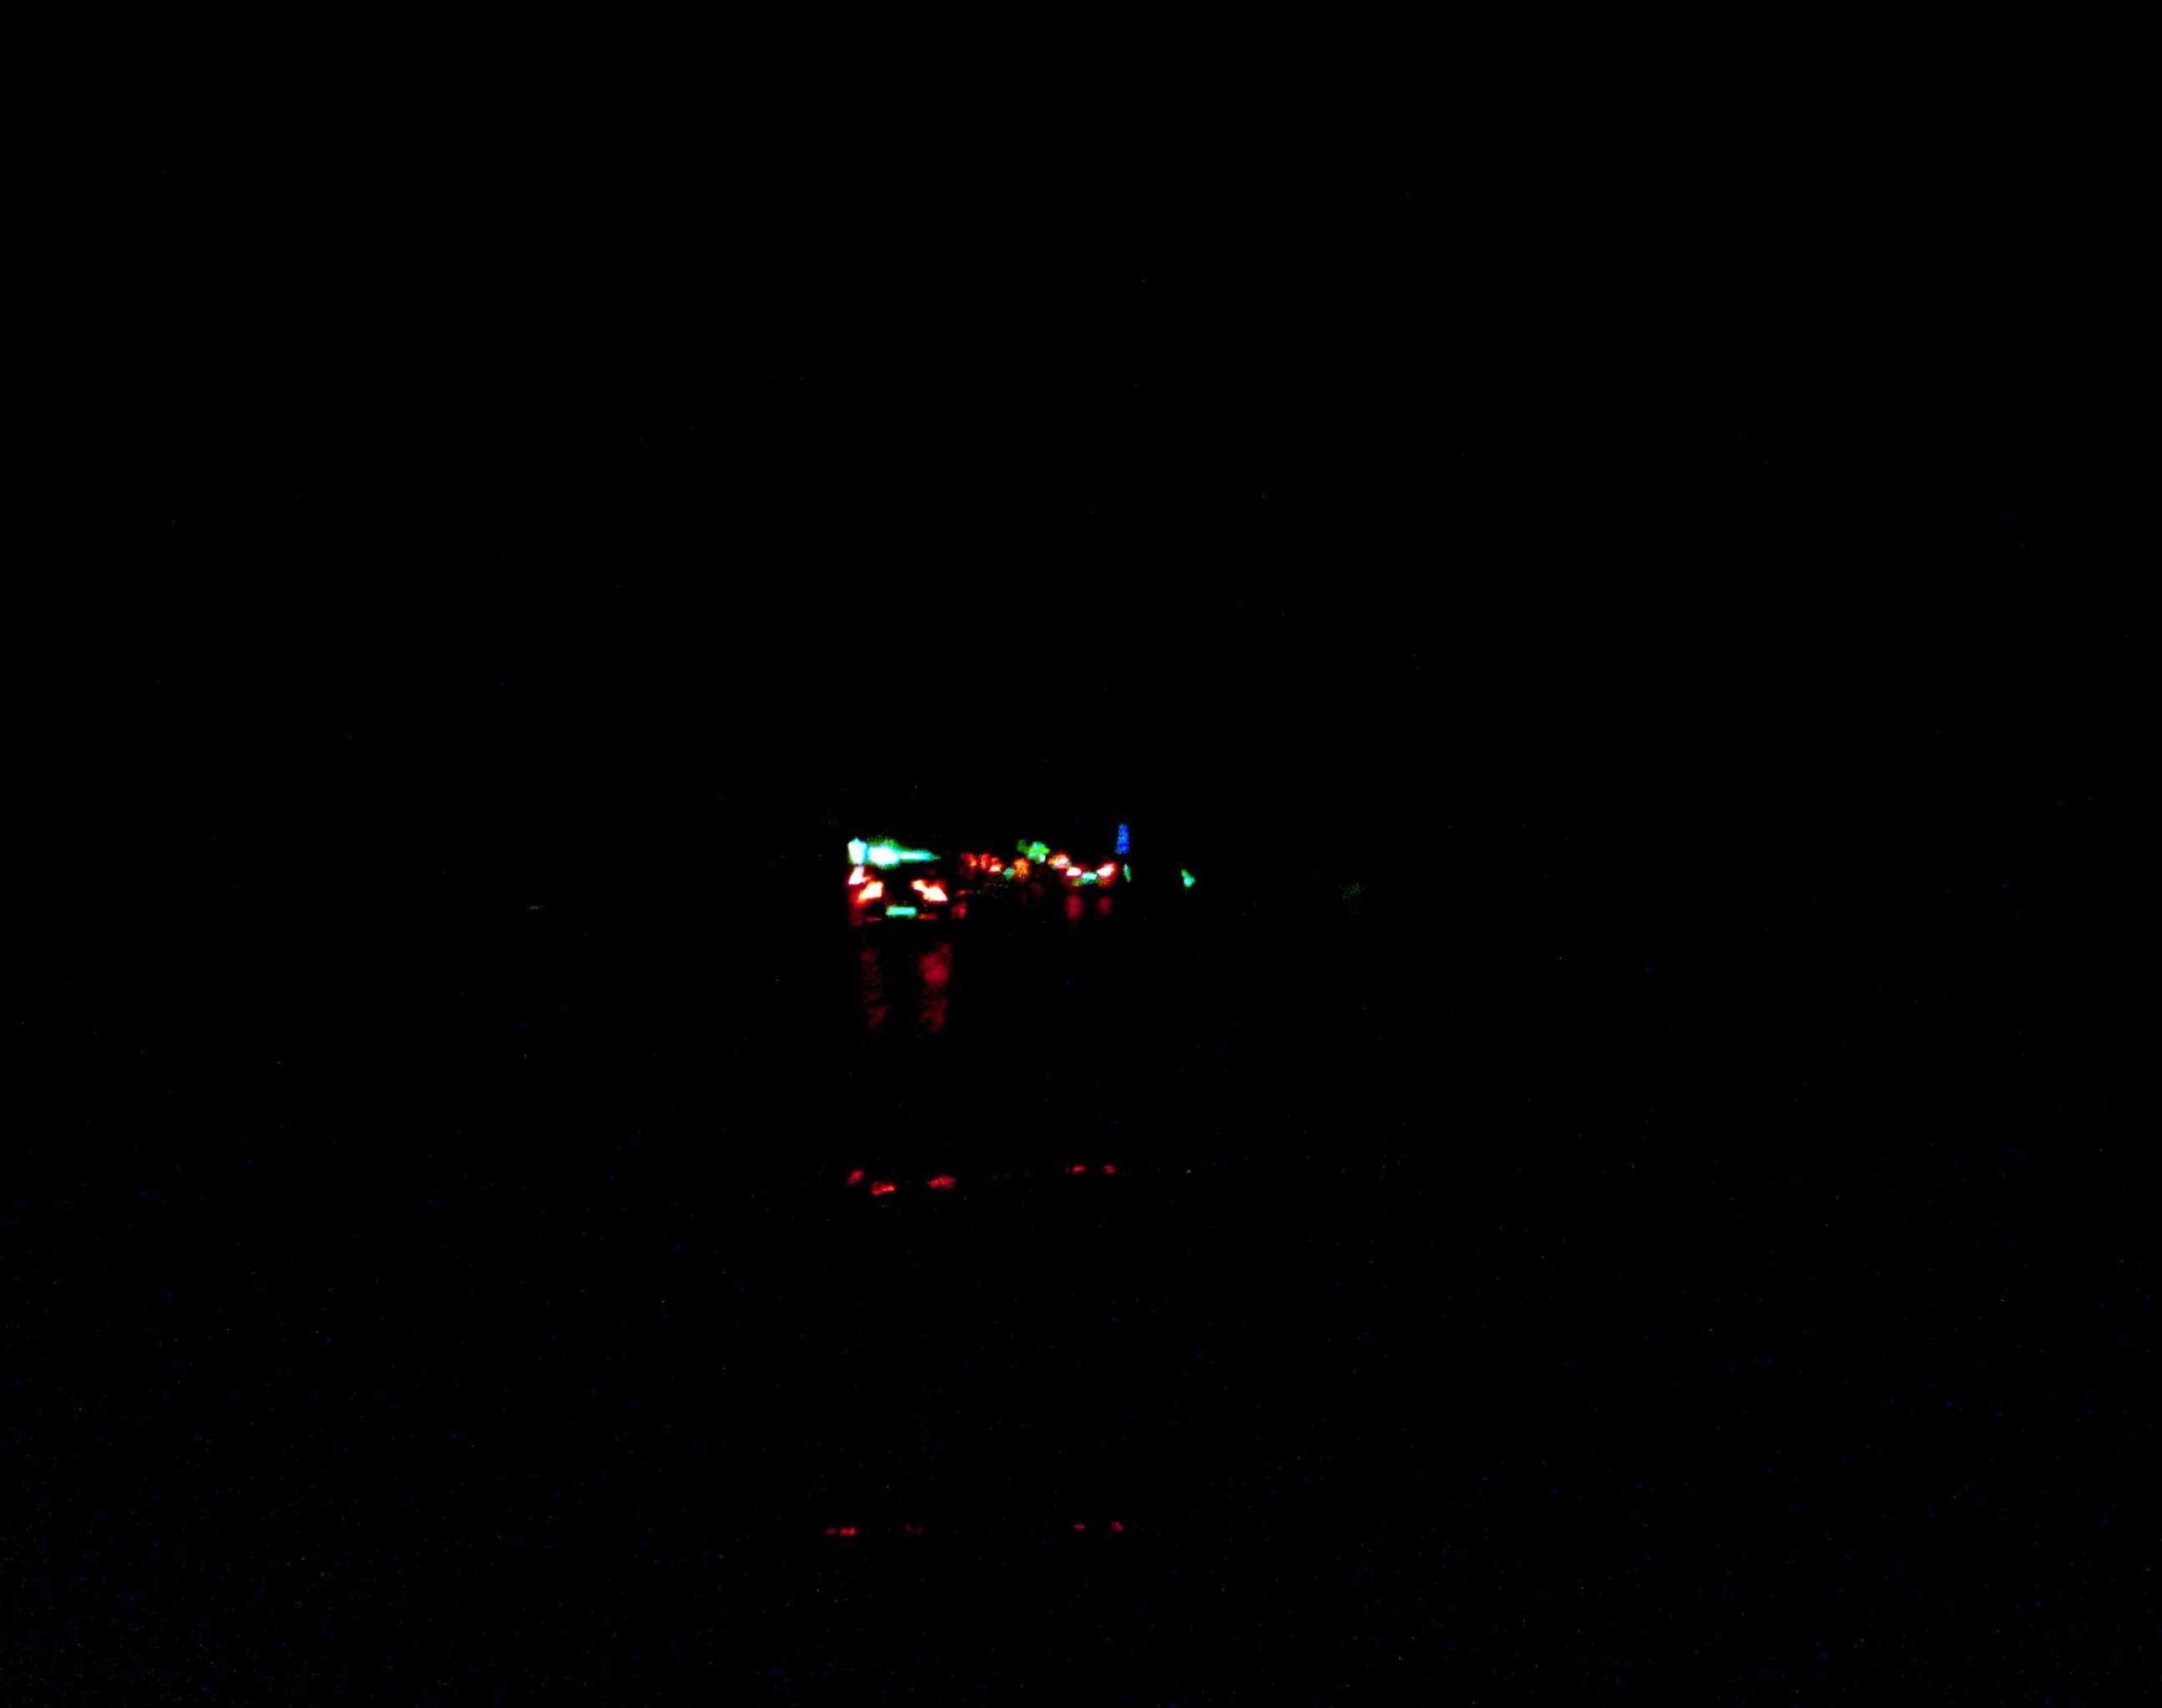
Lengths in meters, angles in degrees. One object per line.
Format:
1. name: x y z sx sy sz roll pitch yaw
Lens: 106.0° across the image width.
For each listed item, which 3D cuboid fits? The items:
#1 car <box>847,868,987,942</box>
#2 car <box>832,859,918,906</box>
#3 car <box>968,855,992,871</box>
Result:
1. car: -3.334 0.992 17.443 1.954 1.380 4.052 1 -1 3
2. car: -7.182 0.929 28.895 1.762 1.517 4.914 0 0 0
3. car: -9.810 0.906 79.552 1.887 1.550 3.998 0 -1 -1
